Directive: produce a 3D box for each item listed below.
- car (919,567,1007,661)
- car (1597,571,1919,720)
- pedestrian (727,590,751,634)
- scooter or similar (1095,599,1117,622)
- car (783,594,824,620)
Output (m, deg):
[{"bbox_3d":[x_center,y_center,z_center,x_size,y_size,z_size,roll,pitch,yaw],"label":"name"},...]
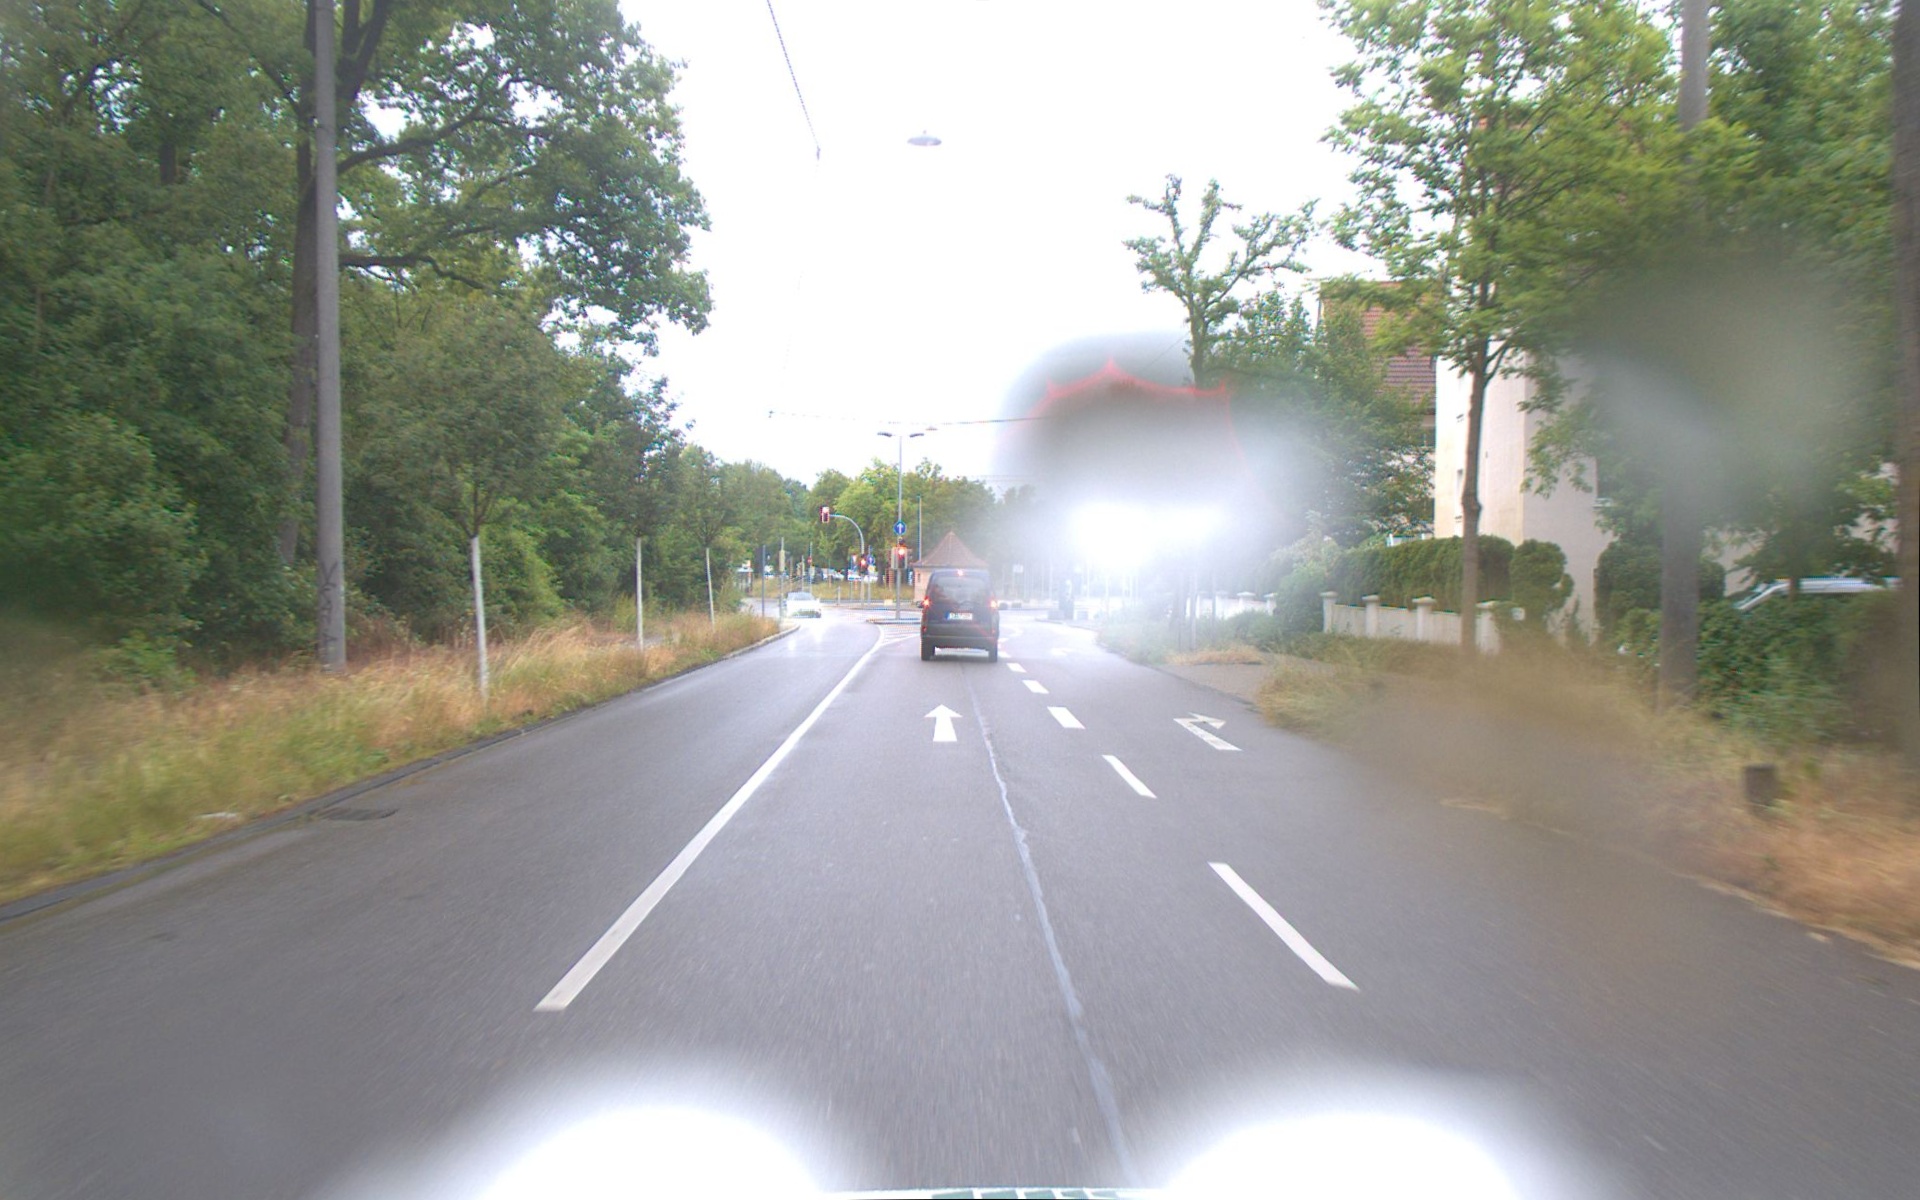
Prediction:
[{"bbox_3d":[0.024,0.271,35.064,1.696,1.817,3.999,2,0,-1],"label":"car"},{"bbox_3d":[11.203,0.596,22.785,4.212,1.849,1.876,2,0,10],"label":"car"},{"bbox_3d":[-10.670,0.587,79.931,1.066,2.049,0.999,1,-1,-4],"label":"pedestrian"},{"bbox_3d":[7.808,0.572,88.401,1.125,1.240,0.406,1,-1,0],"label":"scooter or similar"},{"bbox_3d":[-8.750,0.386,92.415,1.957,1.334,4.350,-2,1,-9],"label":"car"}]
